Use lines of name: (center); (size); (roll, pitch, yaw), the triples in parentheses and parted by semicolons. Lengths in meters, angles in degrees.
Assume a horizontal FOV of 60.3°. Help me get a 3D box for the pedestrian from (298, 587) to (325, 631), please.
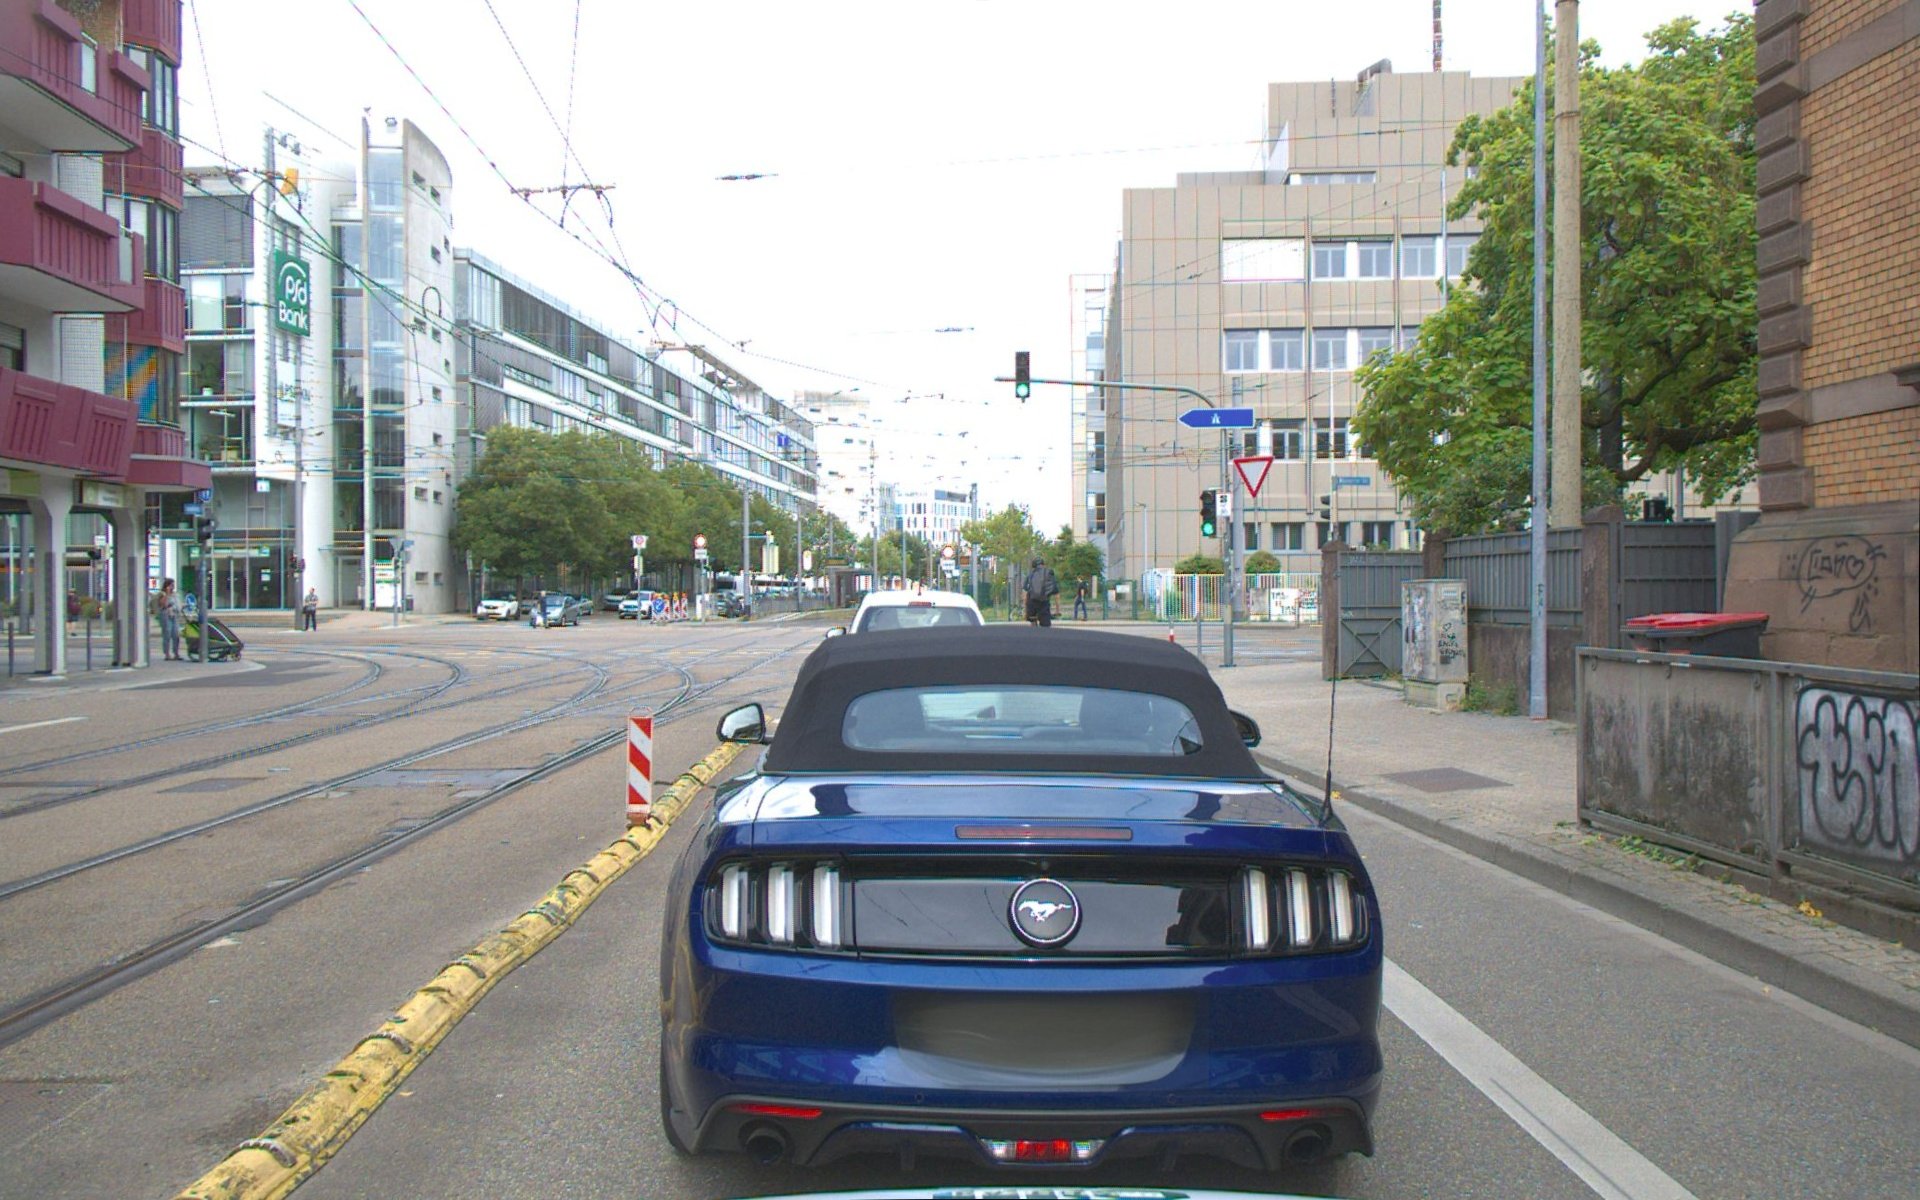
pedestrian: (-28.113, 0.385, 71.696); (0.816, 1.897, 0.766); (-1, 0, 11)

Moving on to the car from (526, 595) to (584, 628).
car: (-20.213, 0.540, 82.633); (1.633, 1.533, 4.236); (1, 1, 3)

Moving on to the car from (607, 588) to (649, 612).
car: (-23.228, -0.048, 115.979); (1.945, 1.584, 4.513); (1, 1, 0)

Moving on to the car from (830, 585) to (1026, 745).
car: (-0.460, 0.595, 17.552); (1.799, 1.464, 4.183); (-1, 0, -5)

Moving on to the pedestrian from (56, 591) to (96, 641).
pedestrian: (-30.600, 0.547, 57.249); (0.915, 1.700, 0.766); (-1, 0, 11)

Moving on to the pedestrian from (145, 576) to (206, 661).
pedestrian: (-16.523, 0.383, 34.851); (0.929, 1.774, 0.811); (0, 0, -4)

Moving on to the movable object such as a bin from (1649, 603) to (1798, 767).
movable object such as a bin: (5.488, 0.594, 11.916); (0.650, 1.101, 0.700); (-4, 0, -6)

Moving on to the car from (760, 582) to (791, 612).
car: (-12.907, -0.211, 115.742); (1.749, 2.022, 4.120); (-1, 0, -1)

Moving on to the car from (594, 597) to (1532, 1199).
car: (0.189, 0.733, 5.406); (1.838, 1.428, 4.282); (1, 0, -1)

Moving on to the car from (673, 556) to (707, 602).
car: (-22.023, -1.707, 135.014); (1.945, 3.700, 4.513); (1, 0, 0)

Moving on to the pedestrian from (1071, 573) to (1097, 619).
pedestrian: (5.291, -0.164, 70.528); (1.063, 1.931, 0.902); (-1, 0, 7)

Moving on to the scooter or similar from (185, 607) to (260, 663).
scooter or similar: (-15.572, 0.735, 34.945); (1.172, 1.148, 0.946); (0, 0, -3)

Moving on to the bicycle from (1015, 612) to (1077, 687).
bicycle: (1.349, 0.760, 26.287); (0.784, 1.105, 2.130); (-1, 0, -3)

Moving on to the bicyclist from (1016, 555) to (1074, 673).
bicyclist: (1.334, 0.217, 26.212); (0.780, 1.816, 1.232); (-1, 0, -3)

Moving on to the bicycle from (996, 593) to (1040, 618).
bicycle: (2.552, 0.260, 73.058); (0.629, 0.998, 2.125); (-1, -2, -42)

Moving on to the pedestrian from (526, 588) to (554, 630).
pedestrian: (-19.363, 0.405, 76.334); (0.968, 1.888, 0.902); (-1, 0, 6)

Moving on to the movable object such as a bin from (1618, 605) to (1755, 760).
movable object such as a bin: (5.537, 0.615, 12.633); (0.638, 1.101, 0.677); (-4, 0, -6)

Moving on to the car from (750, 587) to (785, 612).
car: (-12.849, -0.041, 110.576); (1.830, 1.634, 4.212); (-1, 0, -1)

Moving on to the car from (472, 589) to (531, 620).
car: (-25.044, 0.218, 90.492); (1.791, 1.584, 4.218); (1, 1, 3)

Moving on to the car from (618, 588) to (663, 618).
car: (-19.214, 0.150, 99.658); (1.679, 1.689, 4.135); (1, 1, 3)

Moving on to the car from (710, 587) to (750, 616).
car: (-13.469, 0.061, 97.031); (1.841, 1.657, 4.086); (-1, 0, -1)

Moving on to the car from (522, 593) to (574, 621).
car: (-24.320, 0.393, 97.766); (1.791, 1.584, 4.218); (1, 1, 3)
